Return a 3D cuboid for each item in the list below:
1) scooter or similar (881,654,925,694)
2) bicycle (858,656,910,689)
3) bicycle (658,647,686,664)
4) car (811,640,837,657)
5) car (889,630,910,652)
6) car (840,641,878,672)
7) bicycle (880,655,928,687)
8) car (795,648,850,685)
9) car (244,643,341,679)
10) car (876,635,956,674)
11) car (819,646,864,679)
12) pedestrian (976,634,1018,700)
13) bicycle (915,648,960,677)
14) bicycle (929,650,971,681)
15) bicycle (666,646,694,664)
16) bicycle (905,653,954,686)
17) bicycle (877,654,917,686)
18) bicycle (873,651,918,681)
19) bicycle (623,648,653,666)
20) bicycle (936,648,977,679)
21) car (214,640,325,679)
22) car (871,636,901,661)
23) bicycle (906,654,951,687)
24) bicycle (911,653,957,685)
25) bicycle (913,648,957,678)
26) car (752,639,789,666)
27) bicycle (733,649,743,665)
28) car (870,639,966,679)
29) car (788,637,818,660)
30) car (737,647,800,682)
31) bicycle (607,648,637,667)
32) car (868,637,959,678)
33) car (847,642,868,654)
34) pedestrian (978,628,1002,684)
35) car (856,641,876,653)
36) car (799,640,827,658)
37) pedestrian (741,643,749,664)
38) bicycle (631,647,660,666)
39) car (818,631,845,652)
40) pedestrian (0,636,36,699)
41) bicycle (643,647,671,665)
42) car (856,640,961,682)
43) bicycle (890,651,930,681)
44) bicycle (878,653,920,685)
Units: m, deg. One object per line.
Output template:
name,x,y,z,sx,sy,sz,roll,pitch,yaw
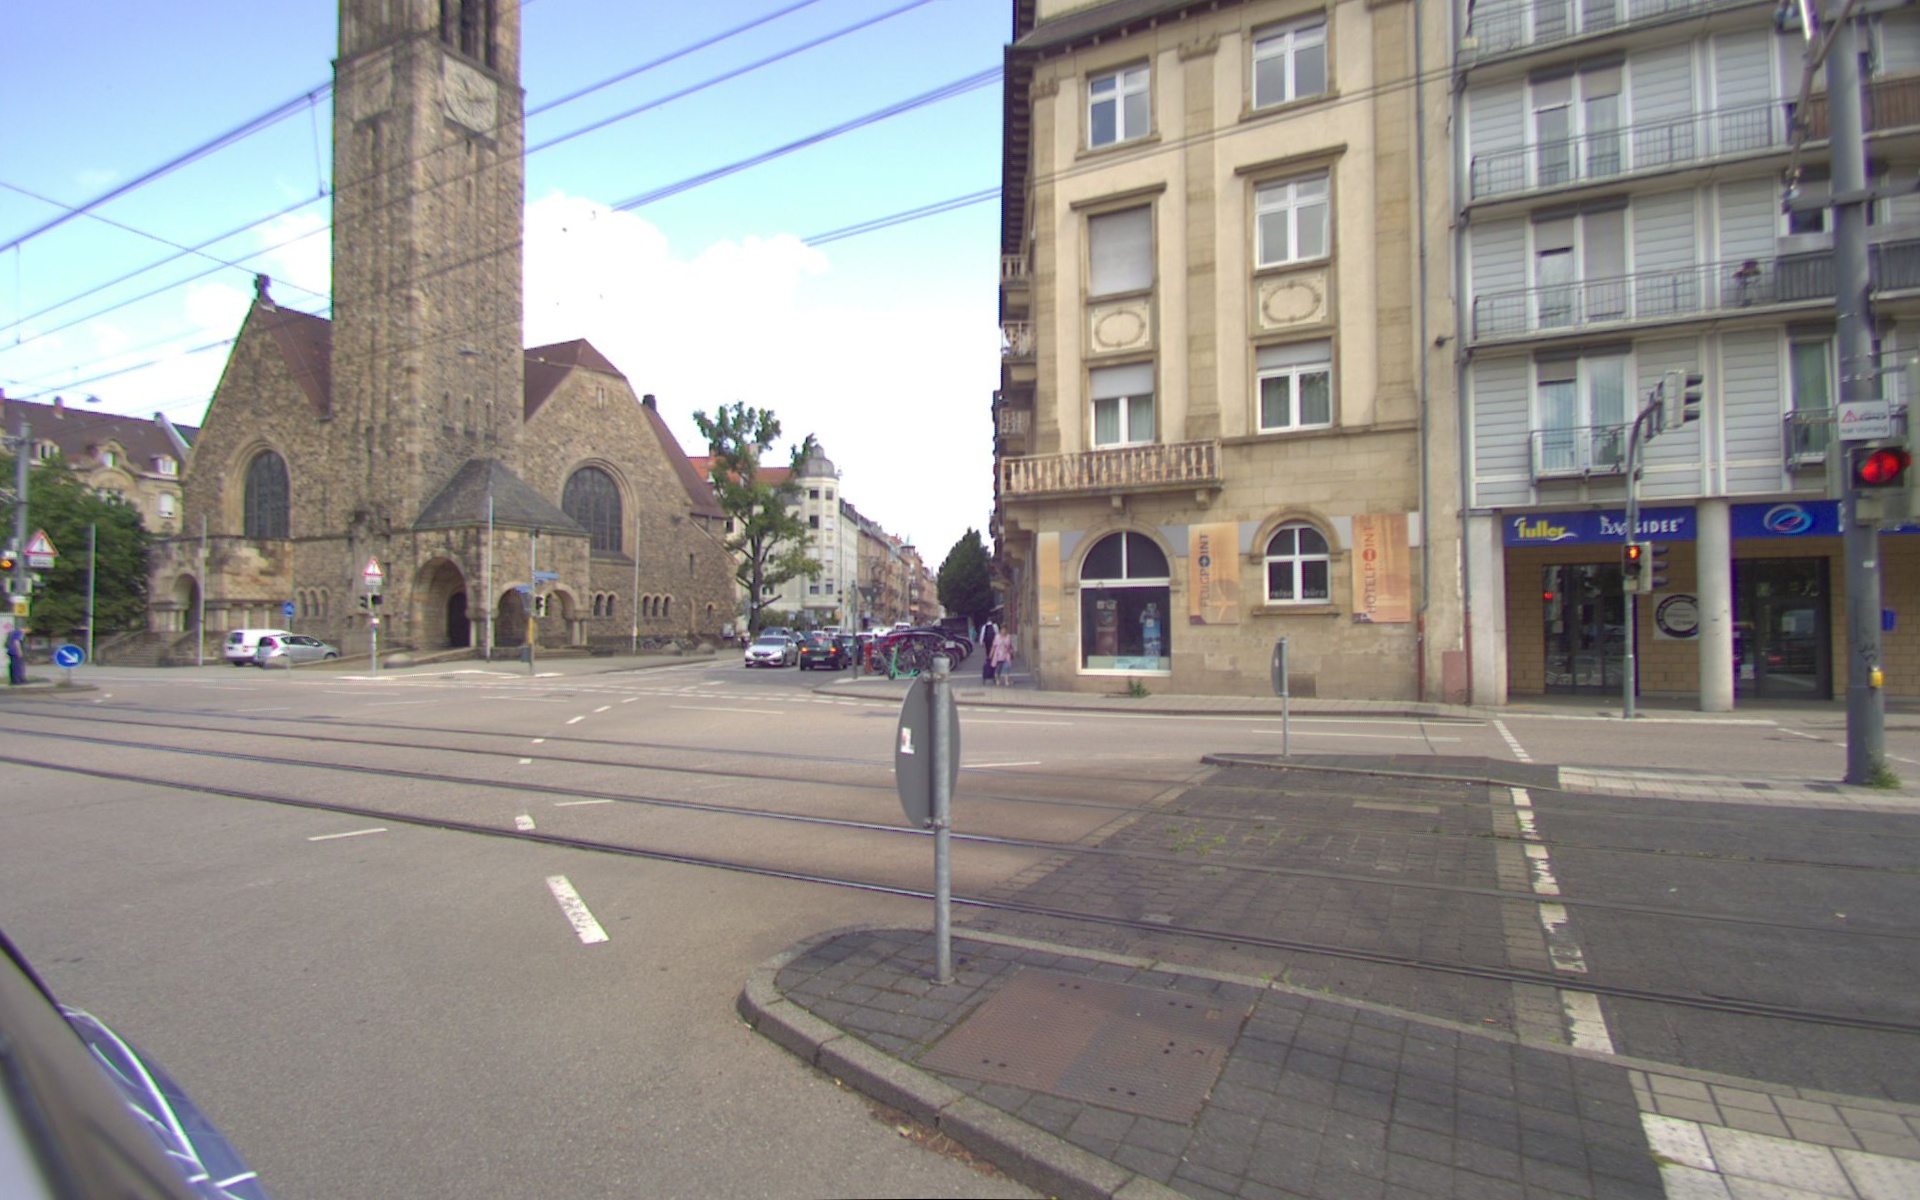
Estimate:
scooter or similar,-1.767,2.309,31.559,1.244,1.155,0.478,-3,-2,21
bicycle,-2.641,2.520,35.210,1.723,1.060,0.528,-3,-3,19
bicycle,-20.007,3.848,70.211,1.928,1.120,0.582,2,0,24
car,-12.520,4.460,93.267,1.662,1.508,3.886,-1,-2,3
car,-7.259,4.930,121.352,2.054,2.464,5.942,1,-3,1
car,-5.911,3.283,59.582,1.752,1.594,4.019,2,-1,0
bicycle,-1.982,2.502,35.835,1.565,1.060,0.479,-3,-2,11
car,-5.865,2.813,43.512,1.696,1.444,3.815,0,-1,2
car,-32.845,3.003,49.906,1.808,1.691,3.607,-3,-4,24
car,-2.352,2.943,54.664,3.887,1.882,1.736,-1,-2,-31
car,-5.895,3.117,50.829,1.729,1.552,3.930,0,-2,1
pedestrian,0.961,1.726,26.167,0.932,1.607,0.995,-4,-2,3
bicycle,-0.883,2.498,40.473,1.875,1.060,0.558,-1,-3,-42
bicycle,-0.371,2.391,36.983,1.465,1.060,0.462,-3,-2,4
bicycle,-19.648,3.862,70.922,1.928,1.120,0.582,2,0,24
bicycle,-1.063,2.435,35.313,1.596,1.060,0.479,-3,-2,11
bicycle,-2.287,2.535,36.701,1.354,1.060,0.418,-3,-3,1
bicycle,-2.477,2.533,38.992,1.785,1.060,0.558,0,-3,-43
bicycle,-21.416,3.789,67.293,1.928,1.120,0.582,2,0,24
bicycle,-0.122,2.364,37.608,1.463,1.060,0.462,-3,-2,0
car,-35.452,3.062,52.081,1.990,1.868,4.266,-3,-4,26
car,-5.399,3.549,74.246,1.793,1.789,4.281,0,-3,1
bicycle,-1.061,2.377,34.178,1.428,1.060,0.479,-3,-2,12
bicycle,-0.927,2.451,36.205,1.565,1.060,0.479,-3,-2,11
bicycle,-0.943,2.398,38.784,1.610,1.060,0.557,-3,-2,2
car,-13.428,3.701,71.788,1.662,1.805,4.141,-1,-2,3
bicycle,-15.688,4.020,71.392,0.473,1.060,1.444,0,-2,-3
car,-1.852,2.627,44.975,3.891,1.468,1.734,-2,-3,-39
car,-12.907,3.984,83.326,1.662,1.805,3.996,-1,-2,3
car,-8.712,2.926,46.437,1.804,1.459,4.381,1,-2,3
bicycle,-22.018,3.759,65.849,1.928,1.120,0.582,2,0,24
car,-2.166,2.720,48.002,3.890,1.702,1.806,-2,-3,-37
car,-11.674,5.487,115.942,1.787,1.378,4.182,-1,-2,3
pedestrian,1.034,1.915,34.902,0.794,1.874,0.905,-2,1,2
car,-11.261,5.639,121.281,1.787,1.378,4.182,-1,-2,3
car,-12.772,4.239,88.026,1.662,1.458,3.794,-1,-2,3
pedestrian,-15.205,3.797,71.458,0.459,1.466,0.556,0,-2,-2
bicycle,-21.121,3.802,67.939,1.928,1.120,0.582,2,0,24
car,-12.360,4.021,97.674,1.821,1.953,4.182,-1,-2,3
pedestrian,-27.028,1.907,28.848,0.740,1.744,0.765,-2,-2,27
bicycle,-20.582,3.818,68.776,1.928,1.120,0.582,2,0,24
car,-2.105,2.510,41.914,3.934,1.468,1.816,-2,-3,-35
bicycle,-1.875,2.469,38.122,1.463,1.060,0.462,-2,-3,-1
bicycle,-2.221,2.523,37.033,1.465,1.060,0.462,-3,-2,3
